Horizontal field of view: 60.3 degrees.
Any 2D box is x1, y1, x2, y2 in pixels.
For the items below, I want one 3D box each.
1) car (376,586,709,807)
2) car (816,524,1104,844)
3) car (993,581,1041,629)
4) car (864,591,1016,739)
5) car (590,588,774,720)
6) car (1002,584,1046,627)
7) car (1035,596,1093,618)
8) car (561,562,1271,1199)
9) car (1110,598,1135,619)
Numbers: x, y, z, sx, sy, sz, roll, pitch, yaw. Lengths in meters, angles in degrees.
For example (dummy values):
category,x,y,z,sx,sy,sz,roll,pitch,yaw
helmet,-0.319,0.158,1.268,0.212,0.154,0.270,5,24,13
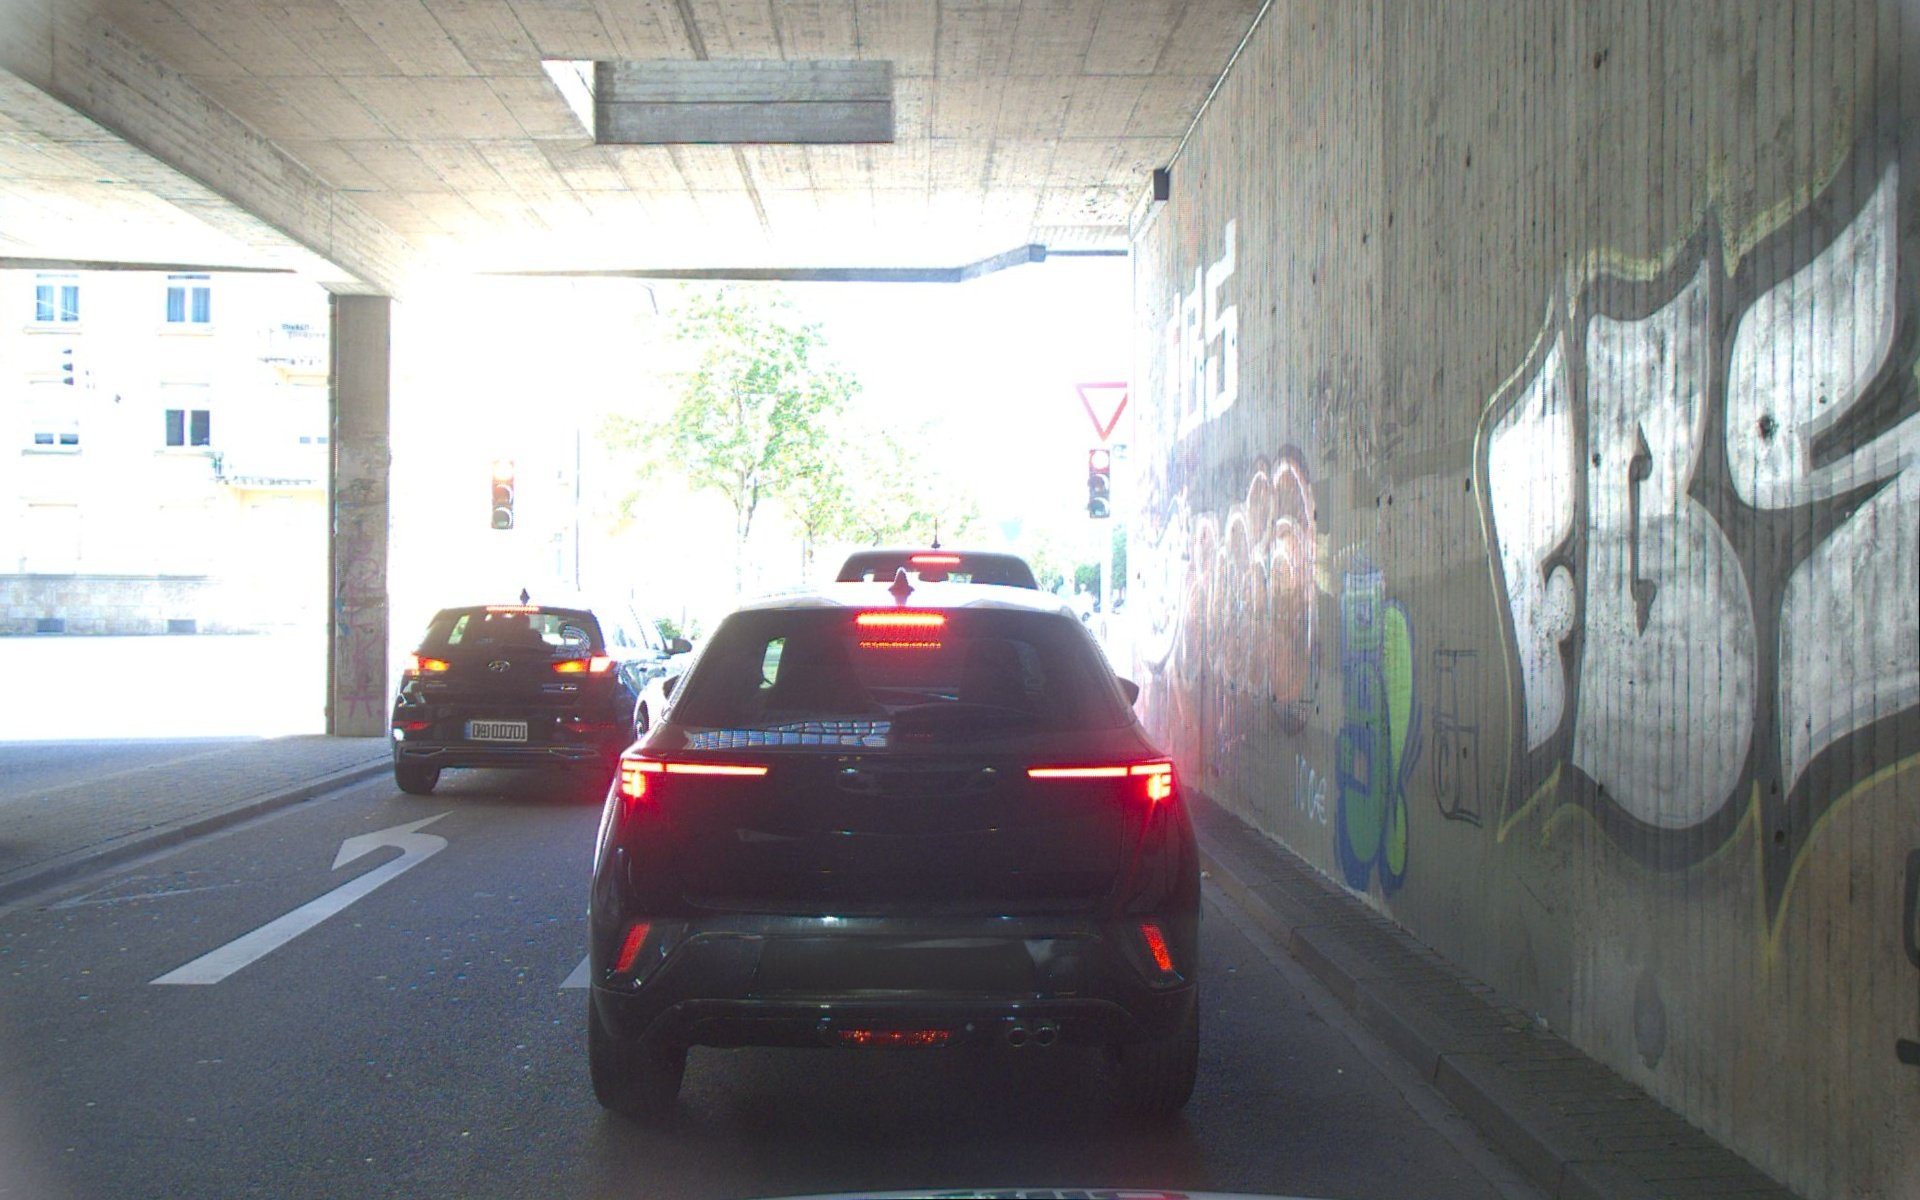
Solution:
category,x,y,z,sx,sy,sz,roll,pitch,yaw
car,-3.144,0.657,13.224,1.726,1.506,3.843,0,0,-1
car,-0.027,0.504,12.027,1.726,1.915,4.145,0,0,-1
car,2.178,0.185,62.222,1.717,1.696,3.946,1,0,3
car,-0.233,0.670,19.241,1.576,1.539,4.053,0,0,-1
car,-3.415,0.618,20.945,1.726,1.506,3.843,0,0,-1
car,2.667,0.220,68.348,1.717,1.696,3.946,1,0,3
car,8.491,0.592,134.767,4.767,1.696,1.798,1,0,-39
car,-0.132,0.686,6.082,1.726,1.558,4.088,0,0,-1
car,13.297,0.695,135.109,1.716,1.696,3.948,1,0,10
